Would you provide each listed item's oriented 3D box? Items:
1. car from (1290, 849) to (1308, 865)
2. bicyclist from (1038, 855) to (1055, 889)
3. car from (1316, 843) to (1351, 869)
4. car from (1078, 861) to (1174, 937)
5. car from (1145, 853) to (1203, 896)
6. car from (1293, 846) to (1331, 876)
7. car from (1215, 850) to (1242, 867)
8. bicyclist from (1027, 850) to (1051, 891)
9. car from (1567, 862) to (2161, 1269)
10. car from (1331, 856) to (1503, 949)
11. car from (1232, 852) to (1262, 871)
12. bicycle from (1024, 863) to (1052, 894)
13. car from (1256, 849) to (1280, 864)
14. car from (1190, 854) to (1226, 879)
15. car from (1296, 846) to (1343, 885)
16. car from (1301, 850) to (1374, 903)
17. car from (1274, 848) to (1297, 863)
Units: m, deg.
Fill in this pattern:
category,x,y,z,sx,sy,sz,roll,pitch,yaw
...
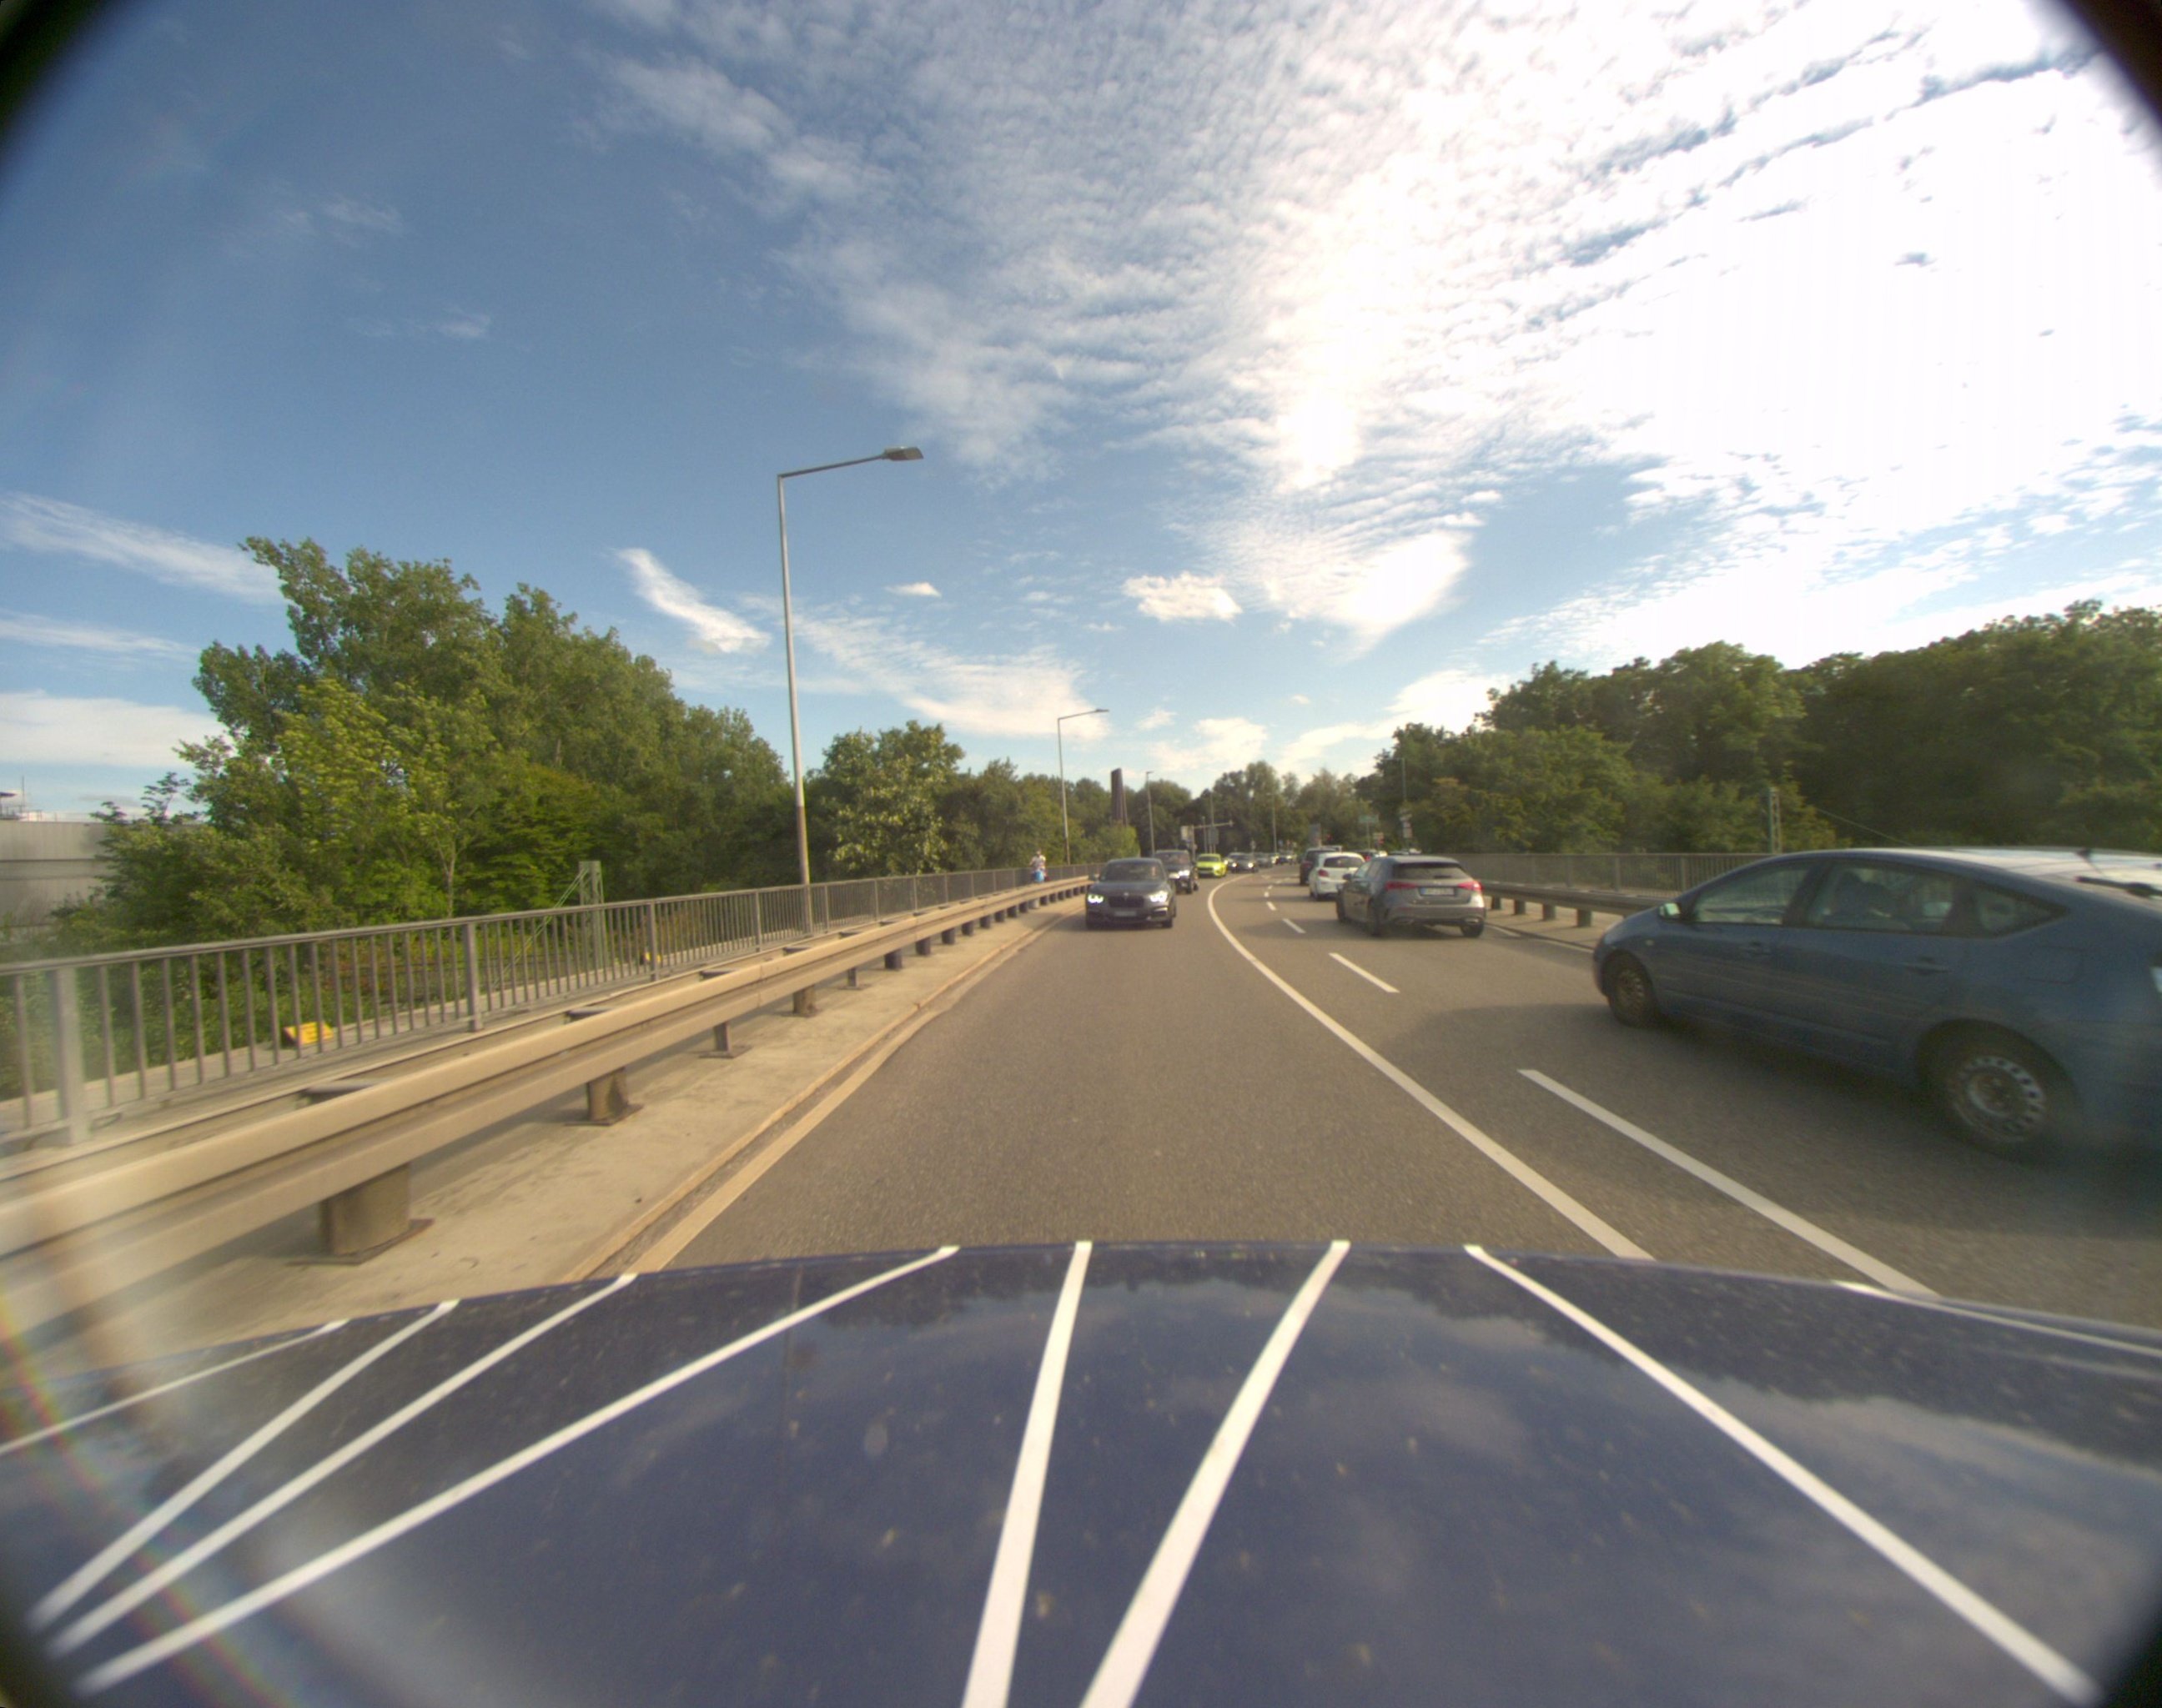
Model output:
category,x,y,z,sx,sy,sz,roll,pitch,yaw
car,28.072,0.367,97.741,1.996,2.002,4.278,-1,1,19
bicyclist,-1.366,0.709,29.986,0.500,1.294,0.539,-1,1,13
car,19.679,0.116,59.081,1.987,1.953,5.056,-1,0,25
car,1.095,0.885,16.549,1.785,1.396,3.973,-1,0,8
car,3.694,0.746,29.559,1.817,1.498,4.395,-1,0,12
car,14.018,0.394,46.021,1.775,1.736,3.843,-1,0,23
car,12.546,0.384,64.380,1.688,1.315,3.789,-1,1,19
bicyclist,-1.614,0.634,29.432,0.708,1.548,0.754,-1,1,13
car,5.173,0.834,4.722,1.763,1.481,4.392,-1,0,5
car,6.074,0.785,14.317,1.816,1.448,4.327,-1,0,8
car,12.293,0.538,56.107,1.688,1.315,3.789,-1,1,19
bicycle,-1.642,0.944,29.482,0.596,1.114,1.698,-1,1,13
car,17.818,0.196,72.321,1.688,1.315,3.790,-1,1,23
car,7.757,0.710,46.084,1.817,1.396,4.395,-1,0,14
car,10.813,0.495,34.755,1.872,1.656,4.635,-1,0,15
car,8.063,0.643,24.143,1.686,1.536,3.926,-1,0,11
car,23.866,0.133,88.604,1.995,1.591,4.287,-1,1,22
